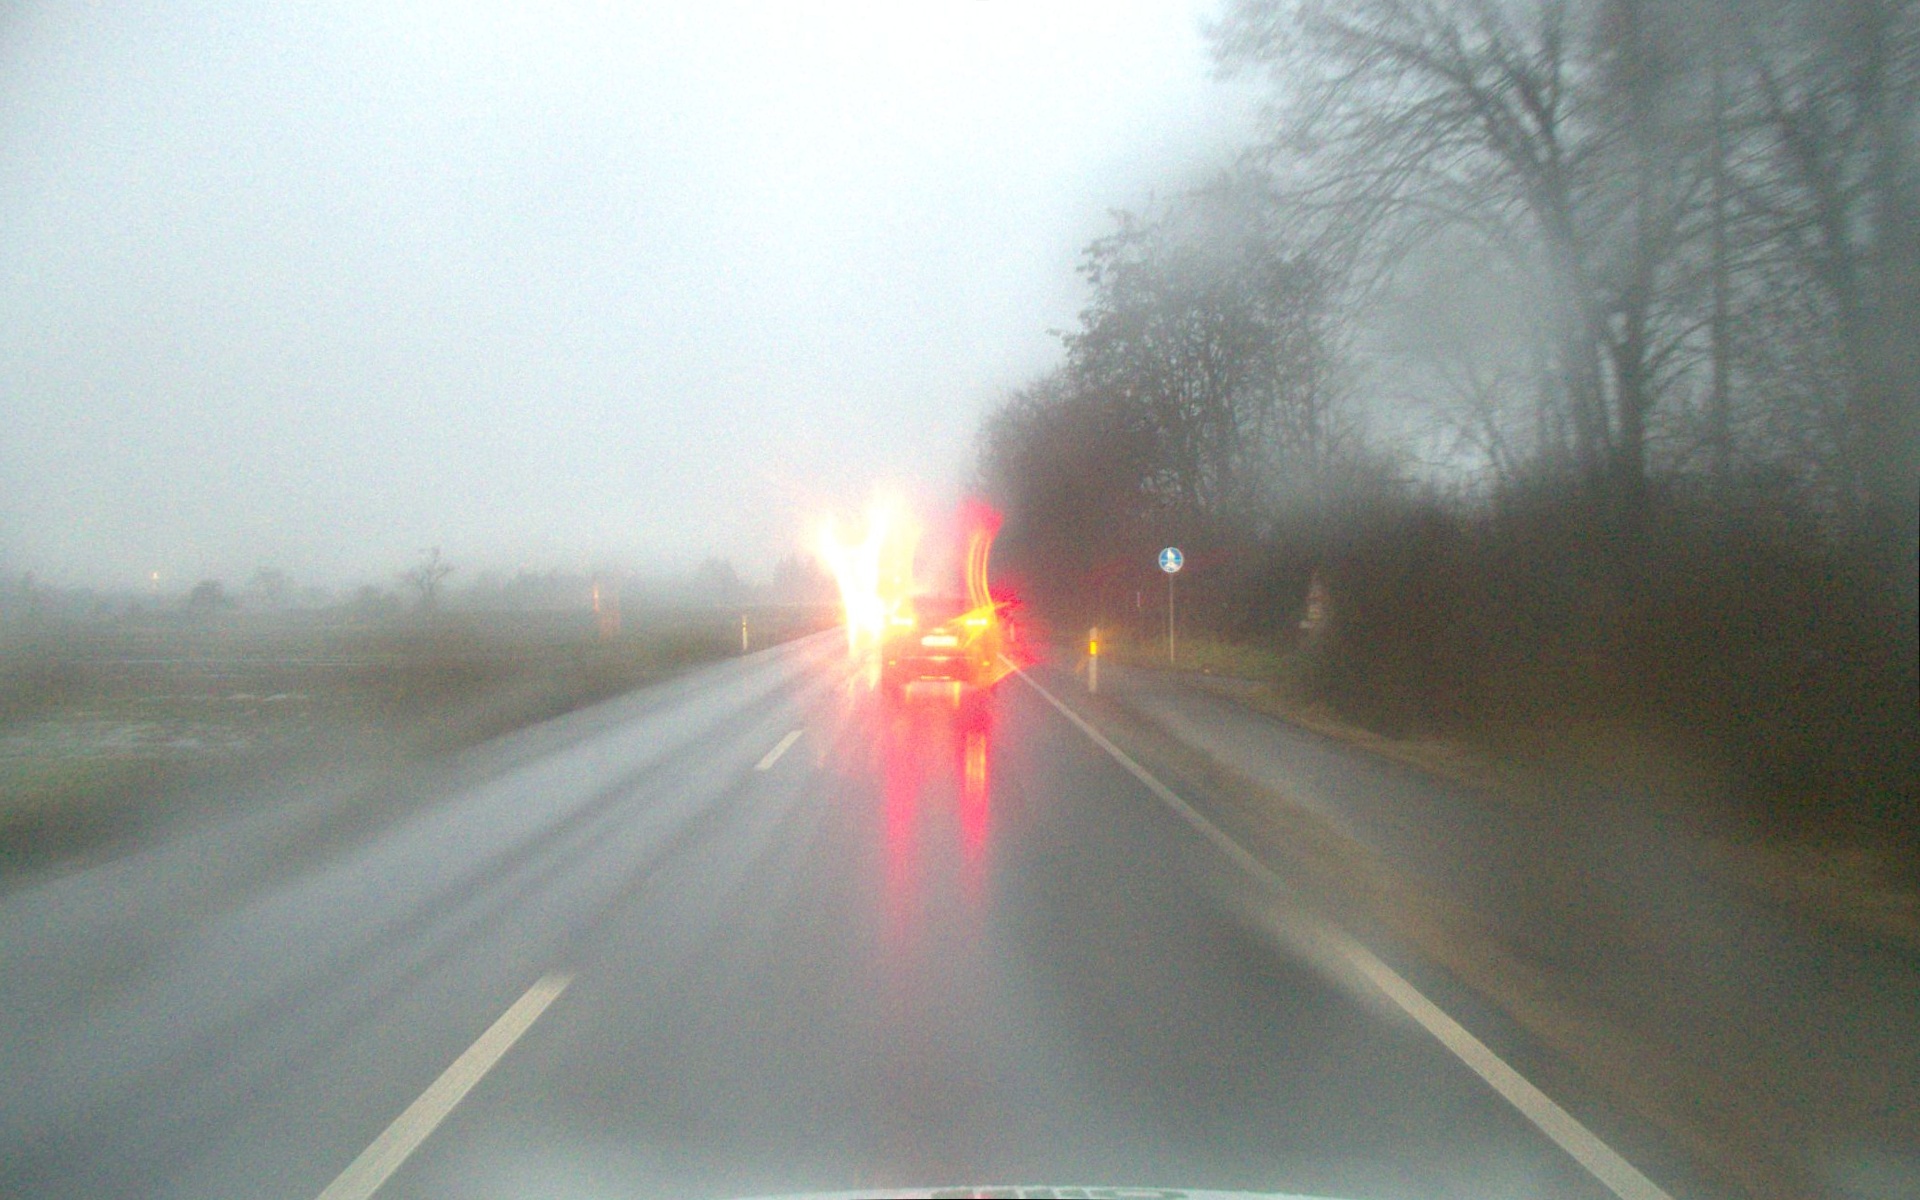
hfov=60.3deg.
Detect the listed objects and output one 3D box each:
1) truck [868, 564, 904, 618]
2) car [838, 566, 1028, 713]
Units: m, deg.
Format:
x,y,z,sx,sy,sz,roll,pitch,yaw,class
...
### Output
x,y,z,sx,sy,sz,roll,pitch,yaw,class
-5.911,-0.711,133.586,2.670,4.177,6.586,-1,0,-2,truck
-0.413,0.587,26.962,2.763,2.113,5.803,0,0,-1,car
